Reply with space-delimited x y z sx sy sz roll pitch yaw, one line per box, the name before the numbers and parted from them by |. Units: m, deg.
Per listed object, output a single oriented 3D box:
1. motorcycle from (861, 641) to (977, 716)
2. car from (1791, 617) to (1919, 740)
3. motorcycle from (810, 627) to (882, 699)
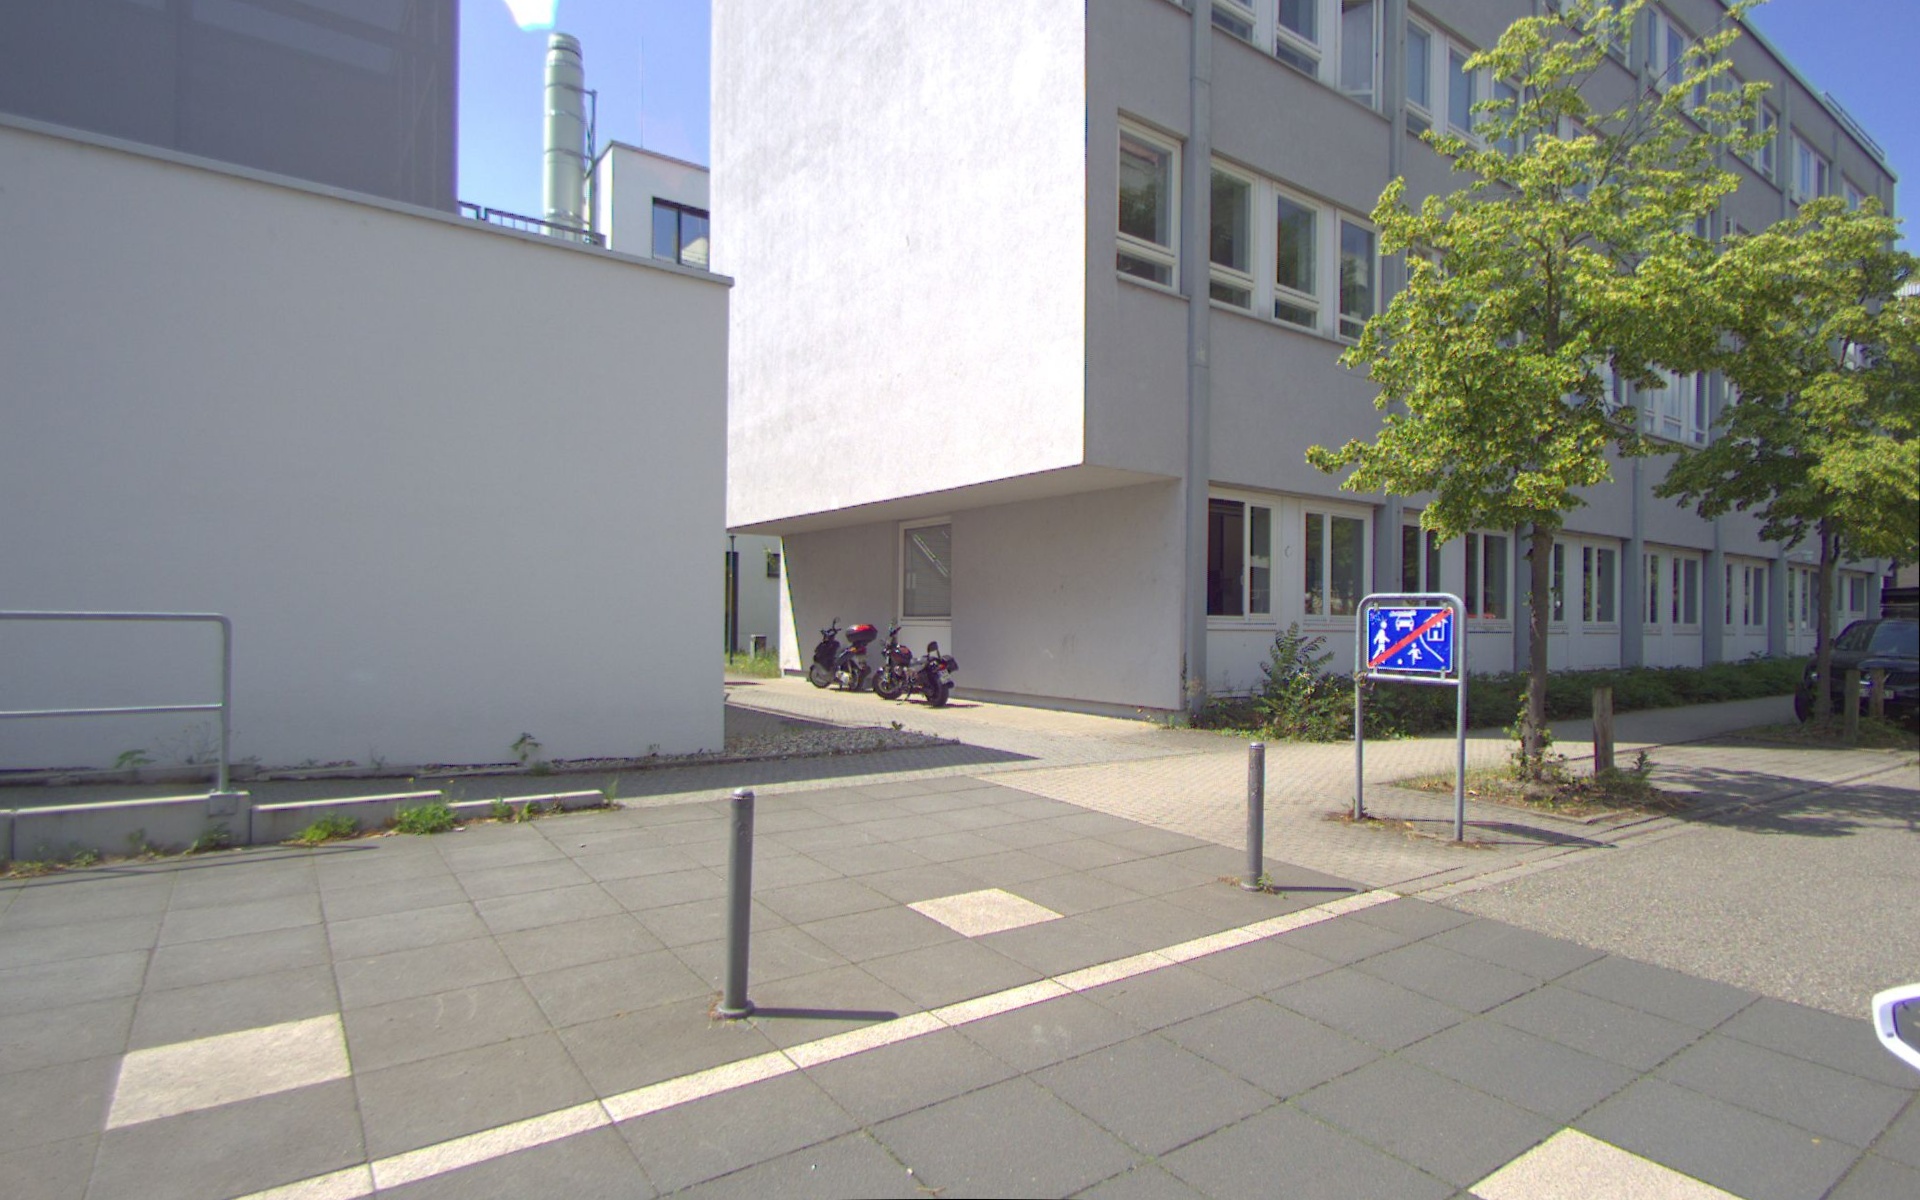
motorcycle | -0.690 1.209 16.017 0.873 1.056 2.163 1 -2 -33
car | 13.777 1.067 14.686 4.031 1.585 1.684 1 -1 -38
motorcycle | -2.131 1.136 18.612 0.625 1.263 1.767 1 -1 -32
